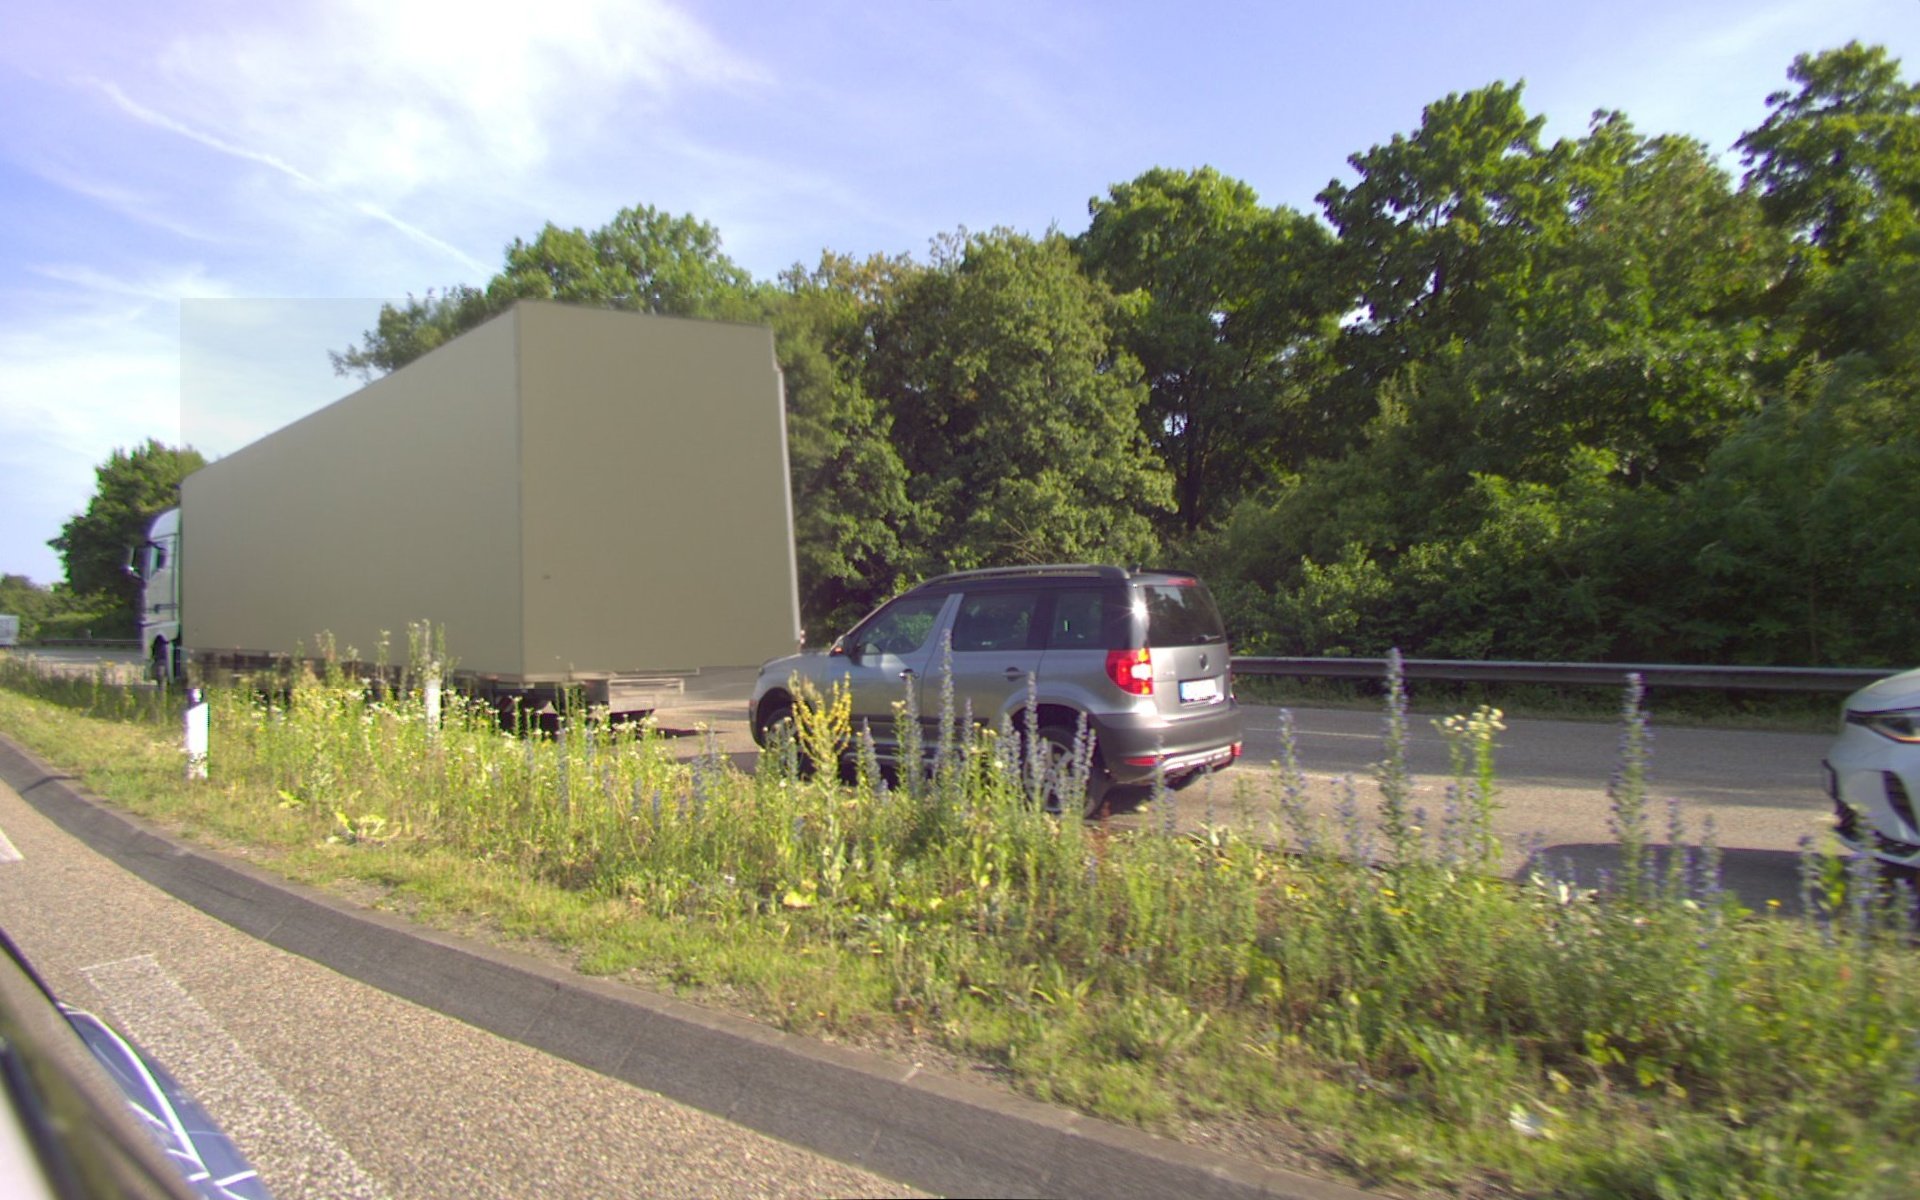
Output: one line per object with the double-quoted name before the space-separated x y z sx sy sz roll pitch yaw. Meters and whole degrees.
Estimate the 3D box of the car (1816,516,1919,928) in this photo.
"car" 6.055 0.439 3.383 4.740 1.644 1.684 -2 -2 38

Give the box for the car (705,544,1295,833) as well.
"car" 0.106 0.571 7.779 4.364 1.644 1.684 -2 -2 38

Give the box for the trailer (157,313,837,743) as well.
"trailer" -7.908 -0.527 14.974 13.993 4.026 2.963 -2 0 38

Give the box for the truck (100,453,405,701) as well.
"truck" -13.860 -0.328 19.637 6.711 4.027 2.864 -2 0 38

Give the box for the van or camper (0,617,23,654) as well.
"van or camper" -74.429 2.736 77.957 6.430 2.732 2.389 -2 -4 39
